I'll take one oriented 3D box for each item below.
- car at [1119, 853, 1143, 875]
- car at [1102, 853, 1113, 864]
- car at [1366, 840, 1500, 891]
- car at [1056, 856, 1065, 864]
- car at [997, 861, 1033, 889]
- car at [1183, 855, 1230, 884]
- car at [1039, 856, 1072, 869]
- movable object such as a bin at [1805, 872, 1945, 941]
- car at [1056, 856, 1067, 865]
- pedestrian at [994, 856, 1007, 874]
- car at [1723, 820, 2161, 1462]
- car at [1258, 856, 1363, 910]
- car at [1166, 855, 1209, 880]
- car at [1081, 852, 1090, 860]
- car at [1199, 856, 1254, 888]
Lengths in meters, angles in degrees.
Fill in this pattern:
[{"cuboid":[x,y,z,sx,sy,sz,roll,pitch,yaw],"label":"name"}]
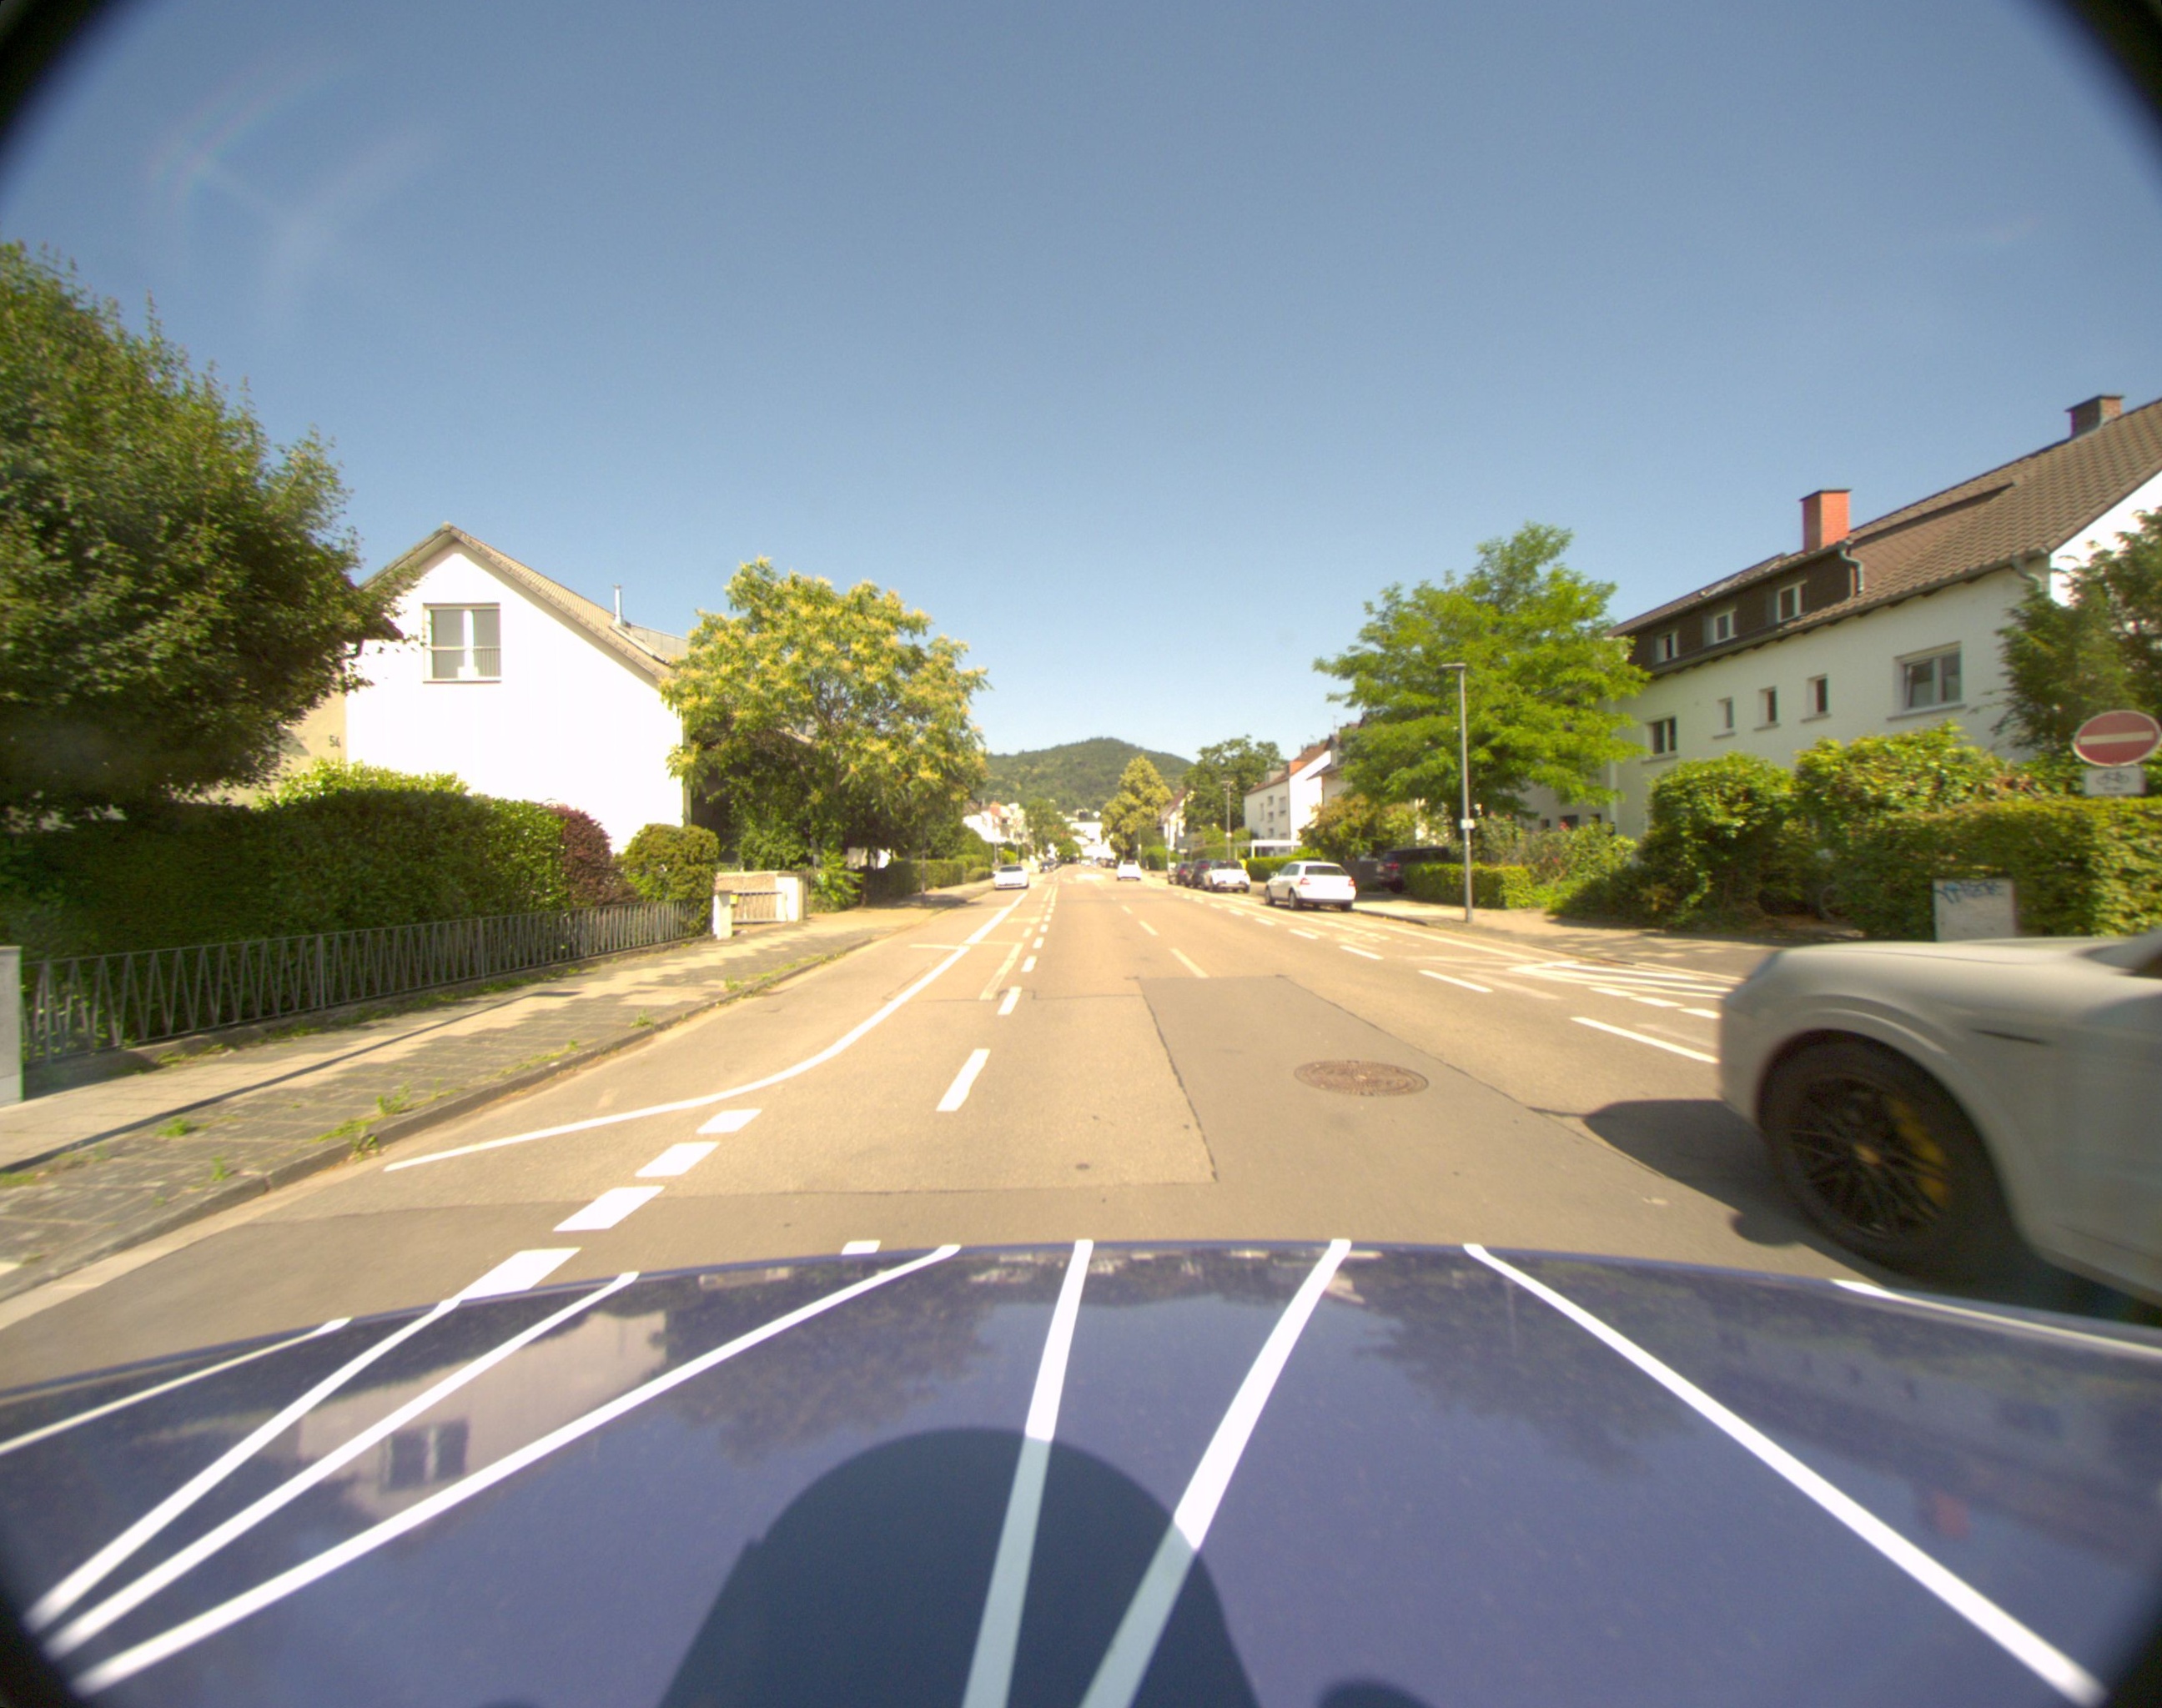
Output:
[{"cuboid":[3.704,0.722,56.937,1.736,1.532,4.001,0,0,3],"label":"car"},{"cuboid":[4.890,0.892,140.705,1.889,1.908,4.870,0,-2,1],"label":"car"},{"cuboid":[12.839,0.406,27.898,3.997,1.749,2.000,-1,0,0],"label":"car"},{"cuboid":[-4.352,1.275,159.047,1.701,1.573,4.899,-3,0,-3],"label":"car"},{"cuboid":[-3.656,1.135,42.855,1.745,1.394,4.073,-3,0,-2],"label":"car"},{"cuboid":[6.519,0.792,39.707,1.790,1.431,4.110,0,0,0],"label":"car"},{"cuboid":[-3.206,1.074,97.160,1.737,1.459,4.354,-2,-1,39],"label":"car"},{"cuboid":[12.873,0.811,12.397,0.319,0.985,1.876,-1,0,0],"label":"movable object such as a bin"},{"cuboid":[-3.390,1.063,129.093,1.727,1.441,4.167,-4,0,-2],"label":"car"},{"cuboid":[-8.517,1.115,80.061,0.903,1.861,1.186,-1,1,-34],"label":"pedestrian"},{"cuboid":[3.765,0.718,0.959,1.999,1.648,4.604,-1,0,0],"label":"car"},{"cuboid":[6.817,0.820,22.990,1.790,1.431,3.999,1,0,-2],"label":"car"},{"cuboid":[6.411,0.802,46.199,1.790,1.431,4.153,1,0,-3],"label":"car"},{"cuboid":[0.937,0.422,164.759,1.920,1.657,4.505,1,0,-2],"label":"car"},{"cuboid":[6.707,0.795,35.485,1.790,1.431,4.000,0,0,0],"label":"car"}]
